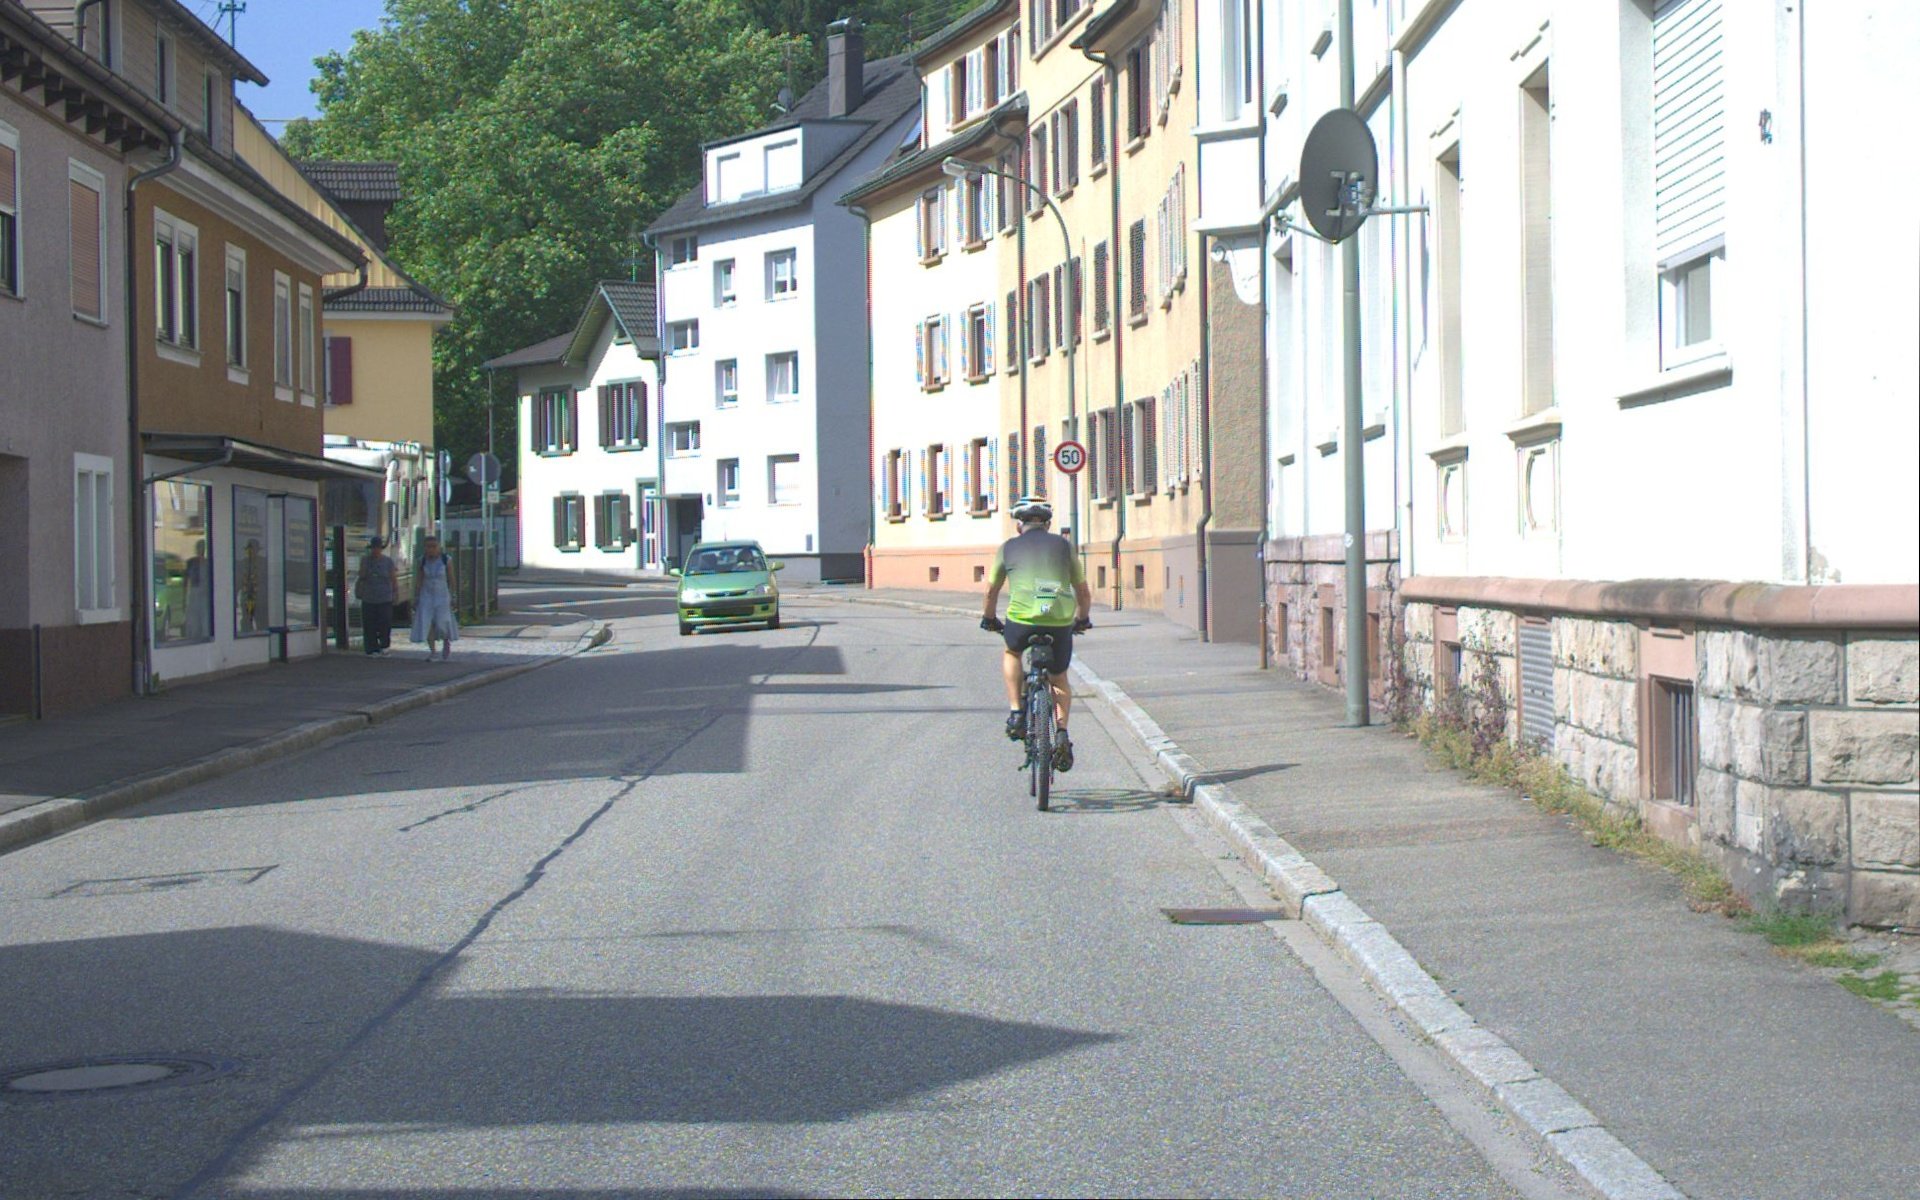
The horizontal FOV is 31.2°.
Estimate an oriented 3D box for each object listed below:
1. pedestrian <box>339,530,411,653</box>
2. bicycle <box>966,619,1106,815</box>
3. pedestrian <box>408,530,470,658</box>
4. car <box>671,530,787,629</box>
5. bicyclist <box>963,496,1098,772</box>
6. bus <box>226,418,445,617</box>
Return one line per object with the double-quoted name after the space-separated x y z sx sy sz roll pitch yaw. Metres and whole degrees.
-7.607 -0.115 44.731 0.735 1.559 0.824 2 1 -1 "pedestrian"
0.421 0.648 19.634 0.698 1.032 1.471 0 1 -3 "bicycle"
-6.777 -0.084 44.722 0.639 1.621 0.777 2 1 -1 "pedestrian"
-3.756 -0.360 56.323 1.596 1.459 3.660 -4 1 0 "car"
0.398 0.184 19.619 0.685 1.526 0.716 -2 1 -3 "bicyclist"
-10.943 -1.446 61.011 2.820 3.217 9.037 1 1 -4 "bus"
